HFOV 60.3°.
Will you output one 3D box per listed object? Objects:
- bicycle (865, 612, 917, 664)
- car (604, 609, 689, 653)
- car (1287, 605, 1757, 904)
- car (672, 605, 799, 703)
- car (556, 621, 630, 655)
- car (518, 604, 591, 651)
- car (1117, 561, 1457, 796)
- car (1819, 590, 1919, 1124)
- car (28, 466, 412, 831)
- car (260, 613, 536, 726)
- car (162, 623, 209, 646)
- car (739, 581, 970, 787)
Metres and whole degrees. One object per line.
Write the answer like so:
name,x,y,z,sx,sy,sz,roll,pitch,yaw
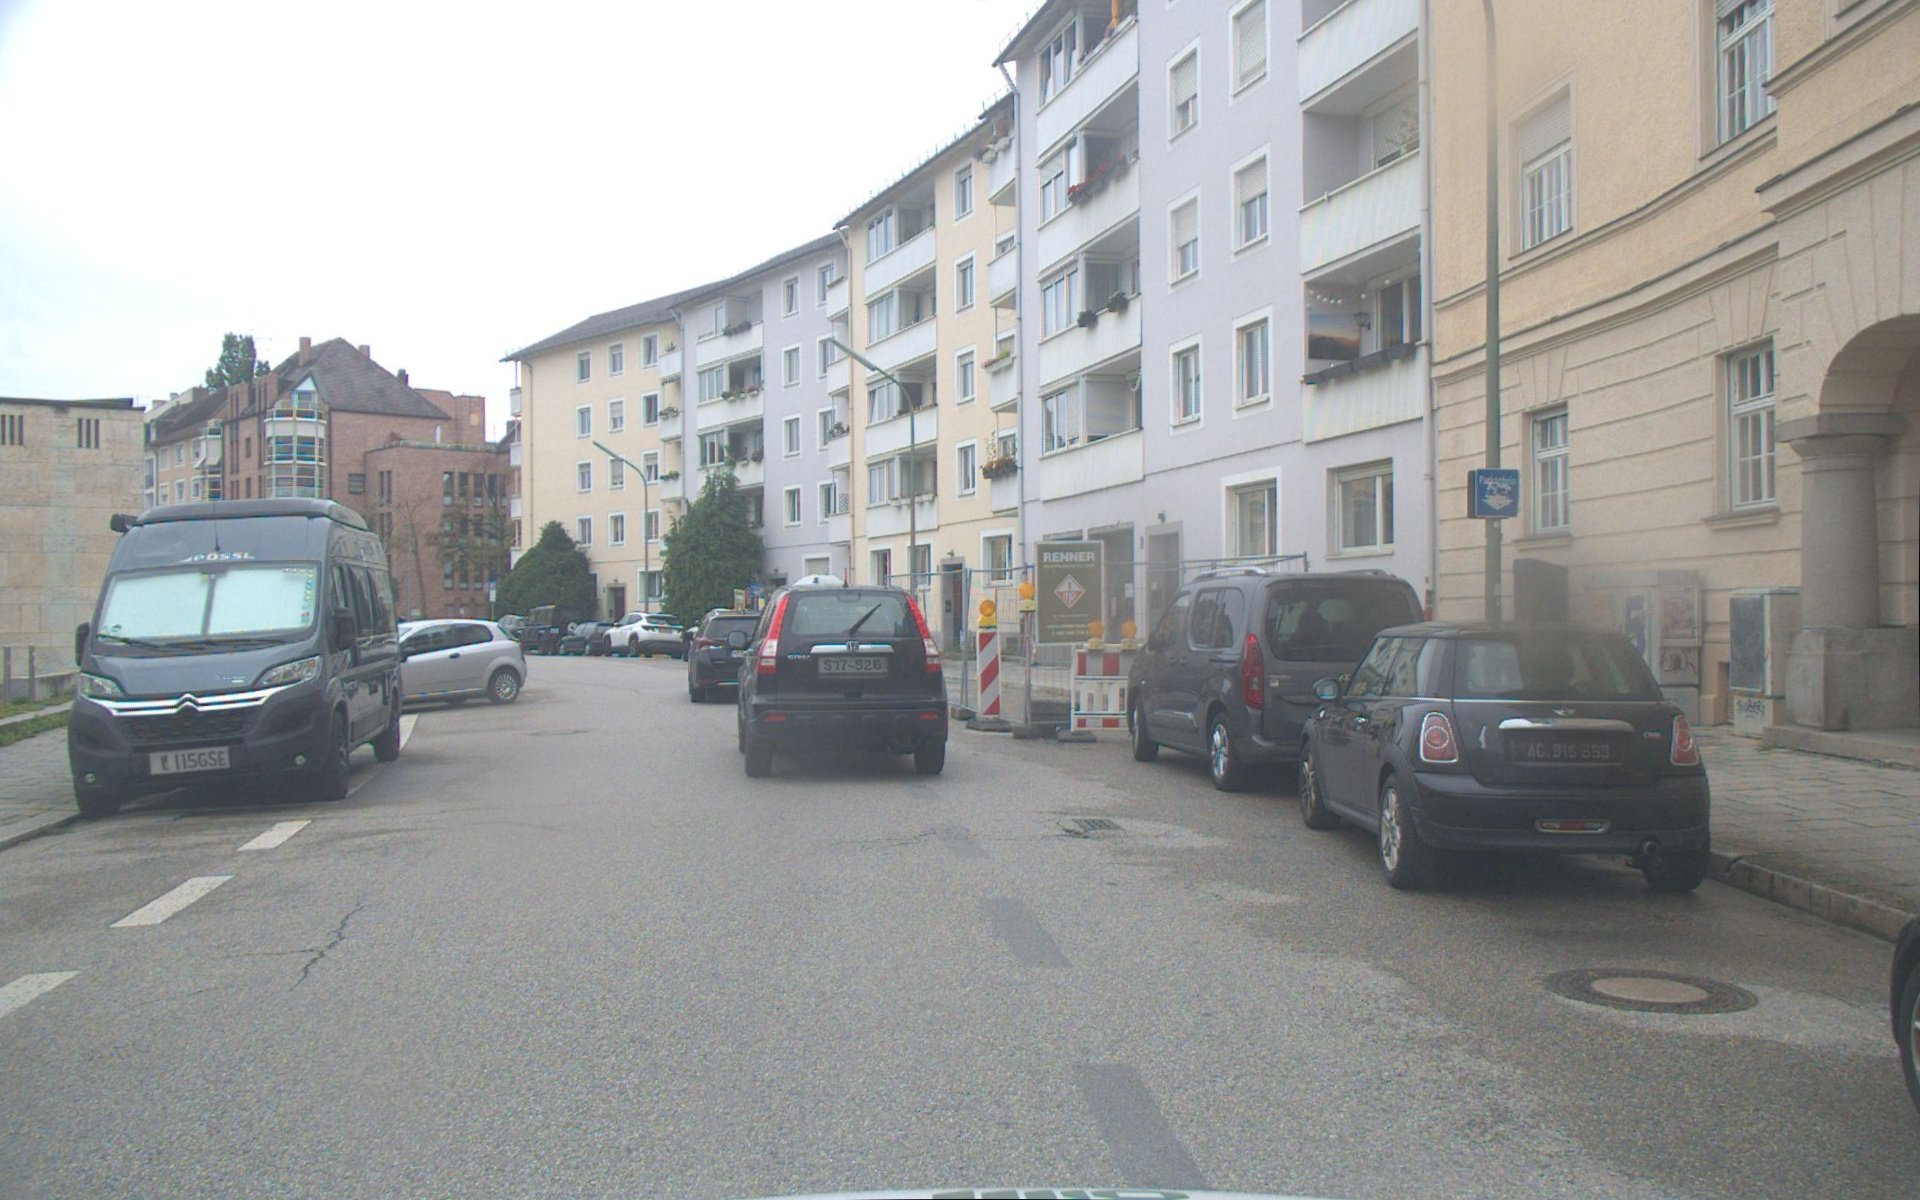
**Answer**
bicycle,-1.974,1.054,46.920,0.952,1.413,2.553,0,0,-15
car,-11.494,1.113,60.456,1.709,1.509,3.953,1,0,-33
car,3.212,0.792,10.249,1.673,1.472,3.830,1,0,1
car,-3.811,0.849,27.608,1.651,1.507,4.071,0,0,-14
car,-14.351,1.466,64.642,1.682,1.258,3.560,1,0,-33
car,-16.799,1.111,68.446,1.709,1.911,3.953,1,0,-33
car,2.795,0.637,15.164,1.744,1.838,4.268,1,0,-8
car,3.523,0.752,3.836,1.503,1.550,3.111,1,0,1
car,-6.541,0.348,15.439,2.127,2.688,5.996,-2,0,-14
car,-9.318,1.126,27.675,1.653,1.507,4.067,-5,-1,39
car,-53.033,2.330,113.213,1.798,1.498,4.053,0,0,-42
car,-1.123,0.697,15.600,1.856,1.676,3.983,0,0,-9
